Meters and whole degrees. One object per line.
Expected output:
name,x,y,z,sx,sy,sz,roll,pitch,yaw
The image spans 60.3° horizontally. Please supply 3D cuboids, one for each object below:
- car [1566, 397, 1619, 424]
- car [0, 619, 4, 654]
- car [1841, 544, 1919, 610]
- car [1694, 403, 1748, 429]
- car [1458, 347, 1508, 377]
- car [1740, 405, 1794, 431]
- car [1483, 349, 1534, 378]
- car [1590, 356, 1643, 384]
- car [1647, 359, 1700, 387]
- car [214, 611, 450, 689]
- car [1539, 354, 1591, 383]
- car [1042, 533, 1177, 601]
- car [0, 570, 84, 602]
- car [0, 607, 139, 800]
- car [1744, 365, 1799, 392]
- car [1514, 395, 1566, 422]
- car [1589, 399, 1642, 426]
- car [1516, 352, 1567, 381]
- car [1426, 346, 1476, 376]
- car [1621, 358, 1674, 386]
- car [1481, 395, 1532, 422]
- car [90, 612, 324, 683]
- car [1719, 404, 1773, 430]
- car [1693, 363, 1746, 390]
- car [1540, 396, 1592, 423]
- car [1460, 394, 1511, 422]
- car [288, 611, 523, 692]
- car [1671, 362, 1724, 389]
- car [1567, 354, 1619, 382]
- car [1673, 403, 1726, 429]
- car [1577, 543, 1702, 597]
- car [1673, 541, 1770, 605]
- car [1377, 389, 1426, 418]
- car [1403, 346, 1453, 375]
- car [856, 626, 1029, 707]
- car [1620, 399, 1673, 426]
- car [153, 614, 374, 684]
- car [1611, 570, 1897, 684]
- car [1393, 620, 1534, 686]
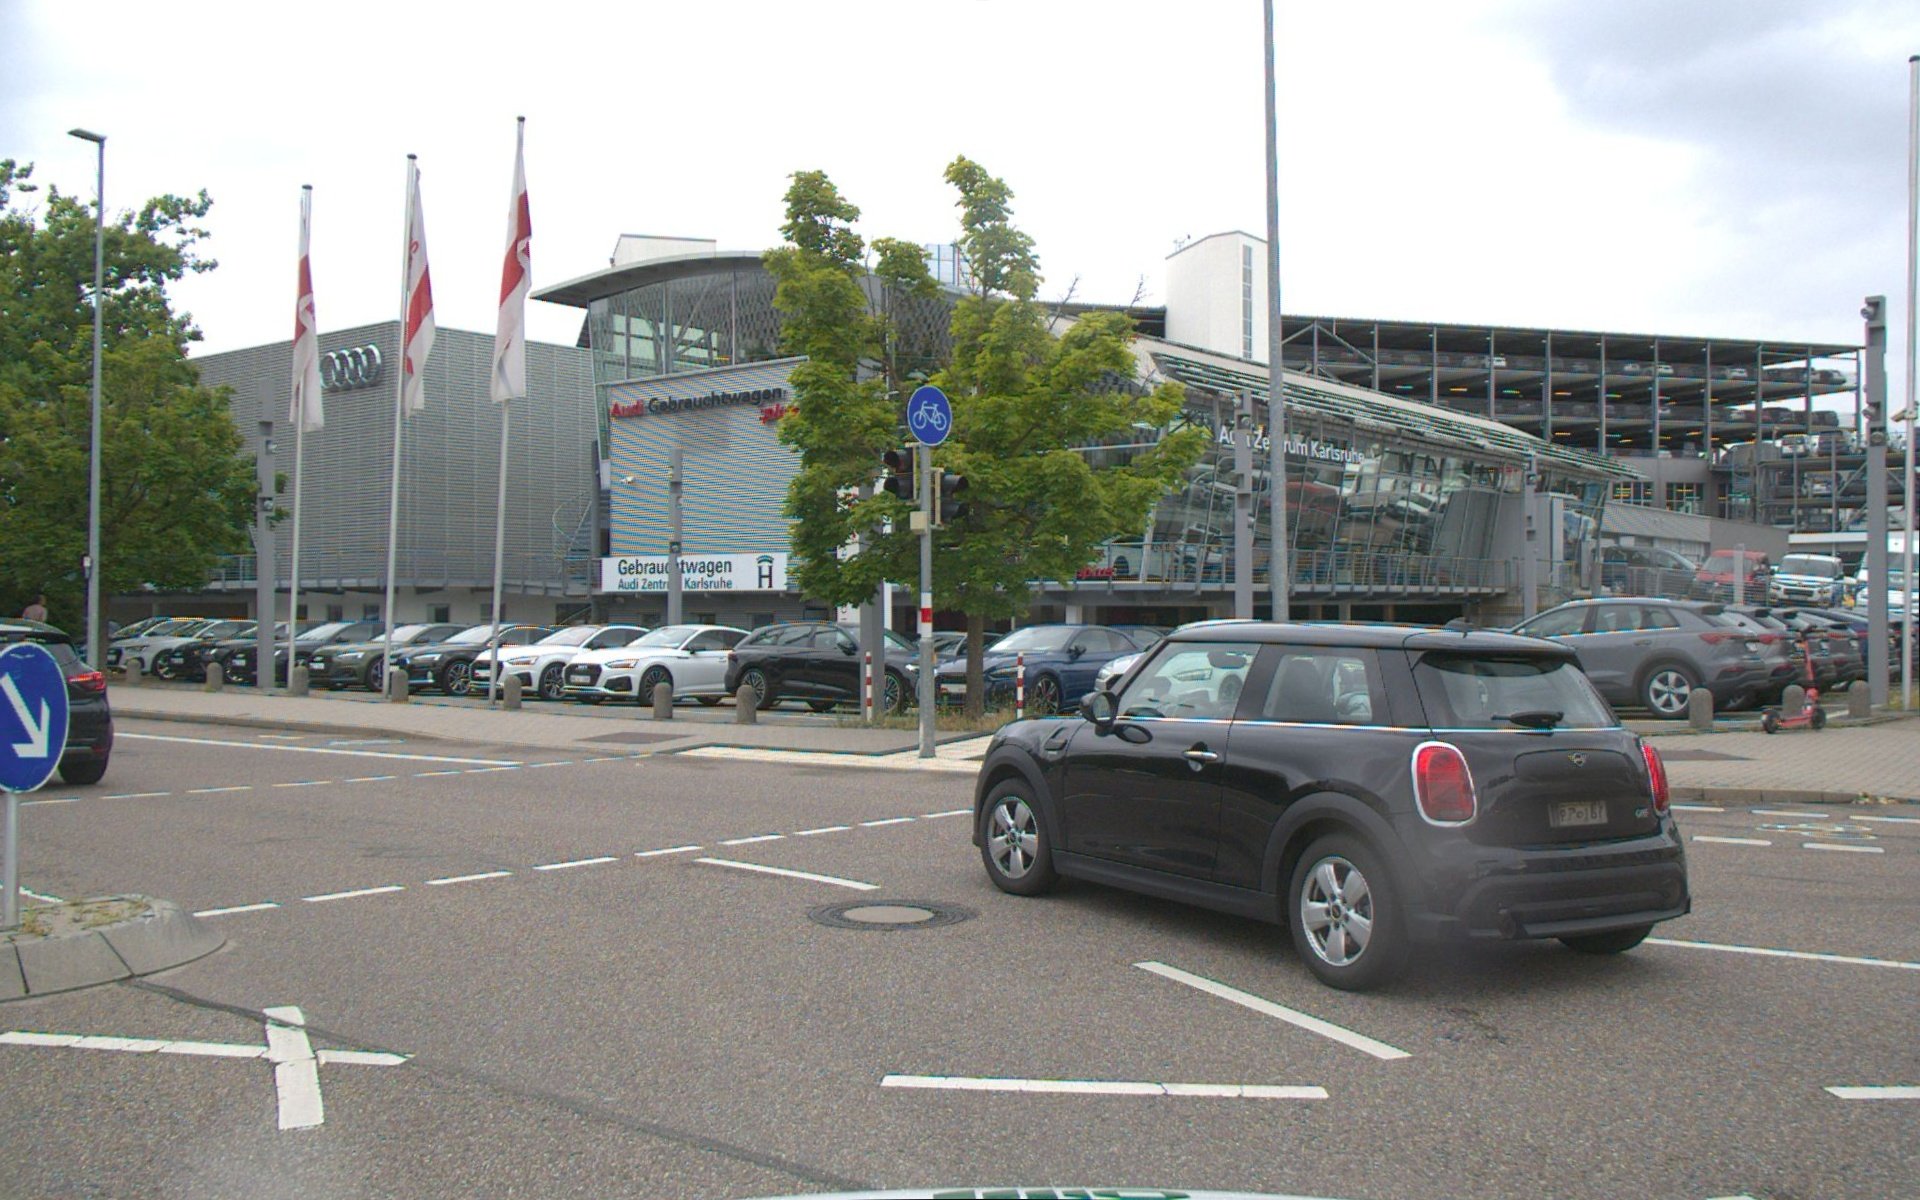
car,51.019,-15.241,133.461,1.961,1.696,3.983,1,0,-16
car,-32.180,1.150,51.142,1.784,1.512,4.058,2,-4,38
car,27.997,-0.664,49.780,1.962,1.855,3.982,2,0,38
car,63.154,-15.225,137.308,1.961,1.696,3.983,1,0,-16
car,41.313,-18.787,130.695,1.961,1.696,3.983,1,0,-16
car,67.816,-15.305,139.060,1.961,1.696,3.983,1,0,-16
car,43.463,-18.720,131.232,1.961,1.696,3.983,1,0,-16
car,53.214,-18.622,134.085,1.961,1.696,3.983,1,0,-16
car,58.587,-18.634,135.831,1.961,1.696,3.983,1,0,-16
car,-13.354,1.094,35.385,1.858,1.496,4.360,0,-3,38
car,48.570,-18.585,132.800,1.961,1.696,3.983,1,0,-16
car,4.052,-0.864,44.337,1.790,1.691,3.983,2,0,37
car,-47.853,-0.726,85.287,1.845,1.522,4.331,2,0,37
car,-8.886,0.806,14.292,3.924,1.459,1.754,1,1,39
car,68.176,-18.624,139.024,1.961,1.696,3.983,1,0,-16
car,46.269,-15.264,132.010,1.961,1.696,3.983,1,0,-16
car,53.084,-15.203,134.056,1.961,1.696,3.983,1,0,-16
car,46.414,-18.652,132.074,1.961,1.696,3.983,1,0,-16
car,38.579,-18.768,129.984,1.961,1.696,3.983,1,0,-16
car,56.090,-18.627,135.027,1.961,1.696,3.983,1,0,-16
car,43.477,-15.232,131.576,1.961,1.696,3.983,1,0,-16
car,-17.540,1.134,38.720,1.812,1.498,4.643,0,-2,37
car,65.732,-15.287,138.339,1.961,1.696,3.983,1,0,-16
car,63.225,-18.618,137.767,1.961,1.696,3.983,1,0,-16
car,48.633,-15.258,132.698,1.961,1.696,3.983,1,0,-16
car,41.463,-15.156,130.622,1.961,1.696,3.983,1,0,-16
car,-11.175,1.074,33.588,1.871,1.512,4.171,0,-3,38
car,61.091,-18.601,137.065,1.961,1.696,3.983,1,0,-16
car,51.088,-18.696,133.586,1.961,1.696,3.983,1,0,-16
car,61.045,-15.206,136.606,1.961,1.696,3.983,1,0,-16
car,25.245,-1.121,61.509,3.926,1.870,1.751,2,0,40
car,24.517,-0.849,53.163,1.962,1.881,3.982,2,0,38
car,34.212,-15.205,128.237,1.961,1.696,3.983,1,0,-16
car,36.530,-18.677,129.106,1.961,1.696,3.983,1,0,-16
car,-0.349,1.519,38.904,1.776,1.725,4.299,2,0,38
car,55.941,-15.251,134.889,1.961,1.696,3.983,1,0,-16
car,-15.520,1.122,37.013,1.866,1.415,4.148,0,-3,38
car,15.310,0.574,31.997,4.692,2.049,1.992,-2,-2,36
car,15.950,1.650,52.453,3.921,1.870,1.753,2,0,37
